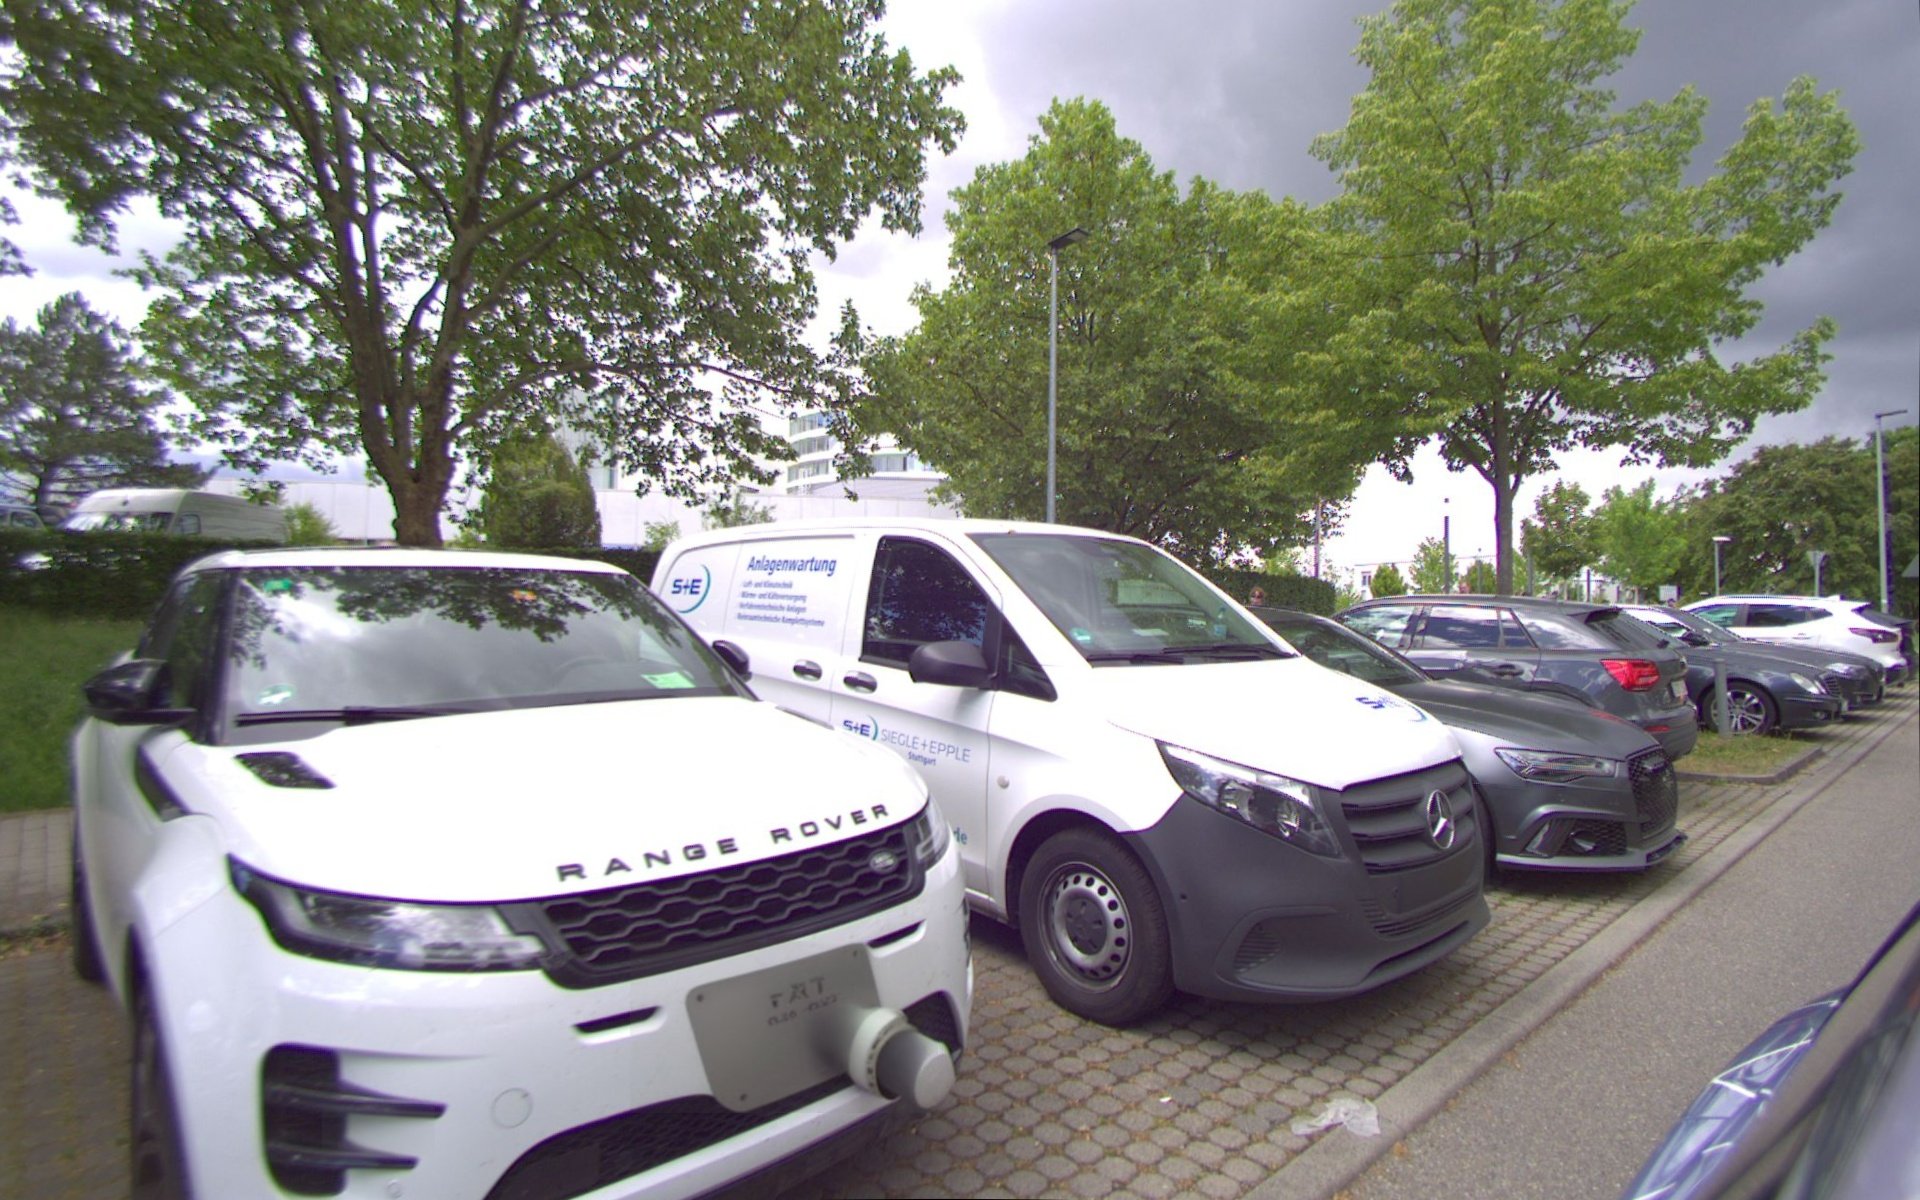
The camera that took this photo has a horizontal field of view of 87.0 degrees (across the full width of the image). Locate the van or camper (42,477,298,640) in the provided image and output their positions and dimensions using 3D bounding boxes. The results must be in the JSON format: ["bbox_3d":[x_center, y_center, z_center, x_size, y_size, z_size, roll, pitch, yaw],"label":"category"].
[{"bbox_3d":[-15.219,-0.677,19.890,2.071,2.834,4.486,0,-1,-10],"label":"van or camper"}]

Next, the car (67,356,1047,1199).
[{"bbox_3d":[-1.810,0.543,3.401,1.709,1.623,4.155,1,-2,-42],"label":"car"}]

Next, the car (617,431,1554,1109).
[{"bbox_3d":[0.080,0.412,5.184,1.810,1.854,4.782,1,1,-41],"label":"car"}]

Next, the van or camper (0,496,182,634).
[{"bbox_3d":[-20.264,-0.672,22.903,2.073,2.834,4.483,0,-1,-5],"label":"van or camper"}]

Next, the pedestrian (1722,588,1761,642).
[{"bbox_3d":[25.805,0.504,33.440,0.753,1.744,0.880,-1,-2,20],"label":"pedestrian"}]

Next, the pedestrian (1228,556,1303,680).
[{"bbox_3d":[4.674,0.275,15.478,0.863,1.816,0.741,1,-2,-41],"label":"pedestrian"}]

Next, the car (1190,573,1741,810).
[{"bbox_3d":[4.135,0.568,8.715,1.879,1.539,3.830,0,1,-42],"label":"car"}]

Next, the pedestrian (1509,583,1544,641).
[{"bbox_3d":[16.992,0.360,30.339,0.693,1.733,0.656,1,-2,-35],"label":"pedestrian"}]

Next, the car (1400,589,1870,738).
[{"bbox_3d":[8.154,0.630,12.571,1.919,1.511,4.578,0,0,-44],"label":"car"}]

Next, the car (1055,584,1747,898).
[{"bbox_3d":[2.531,0.618,6.694,1.807,1.388,3.839,1,1,-33],"label":"car"}]

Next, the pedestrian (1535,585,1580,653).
[{"bbox_3d":[14.787,0.480,25.043,0.916,1.642,0.688,1,-2,-42],"label":"pedestrian"}]

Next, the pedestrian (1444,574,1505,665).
[{"bbox_3d":[10.581,0.398,20.800,0.863,1.816,0.832,1,-2,-41],"label":"pedestrian"}]

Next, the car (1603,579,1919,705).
[{"bbox_3d":[12.321,0.544,15.614,1.818,1.667,3.679,1,0,-39],"label":"car"}]

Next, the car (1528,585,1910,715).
[{"bbox_3d":[10.444,0.624,14.143,1.852,1.538,3.991,0,-1,-42],"label":"car"}]

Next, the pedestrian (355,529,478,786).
[{"bbox_3d":[-3.801,0.382,7.077,0.590,1.678,0.689,1,-2,-42],"label":"pedestrian"}]

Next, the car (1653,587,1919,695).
[{"bbox_3d":[13.996,0.612,16.933,1.565,1.594,3.678,-1,1,-39],"label":"car"}]

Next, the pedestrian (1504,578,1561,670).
[{"bbox_3d":[11.584,0.478,20.470,0.863,1.816,0.741,1,-2,-41],"label":"pedestrian"}]

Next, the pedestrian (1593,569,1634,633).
[{"bbox_3d":[15.528,0.024,24.047,0.723,1.487,0.619,1,-2,-41],"label":"pedestrian"}]

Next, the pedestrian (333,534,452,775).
[{"bbox_3d":[-4.258,0.389,7.582,0.583,1.678,0.870,1,-2,-42],"label":"pedestrian"}]
